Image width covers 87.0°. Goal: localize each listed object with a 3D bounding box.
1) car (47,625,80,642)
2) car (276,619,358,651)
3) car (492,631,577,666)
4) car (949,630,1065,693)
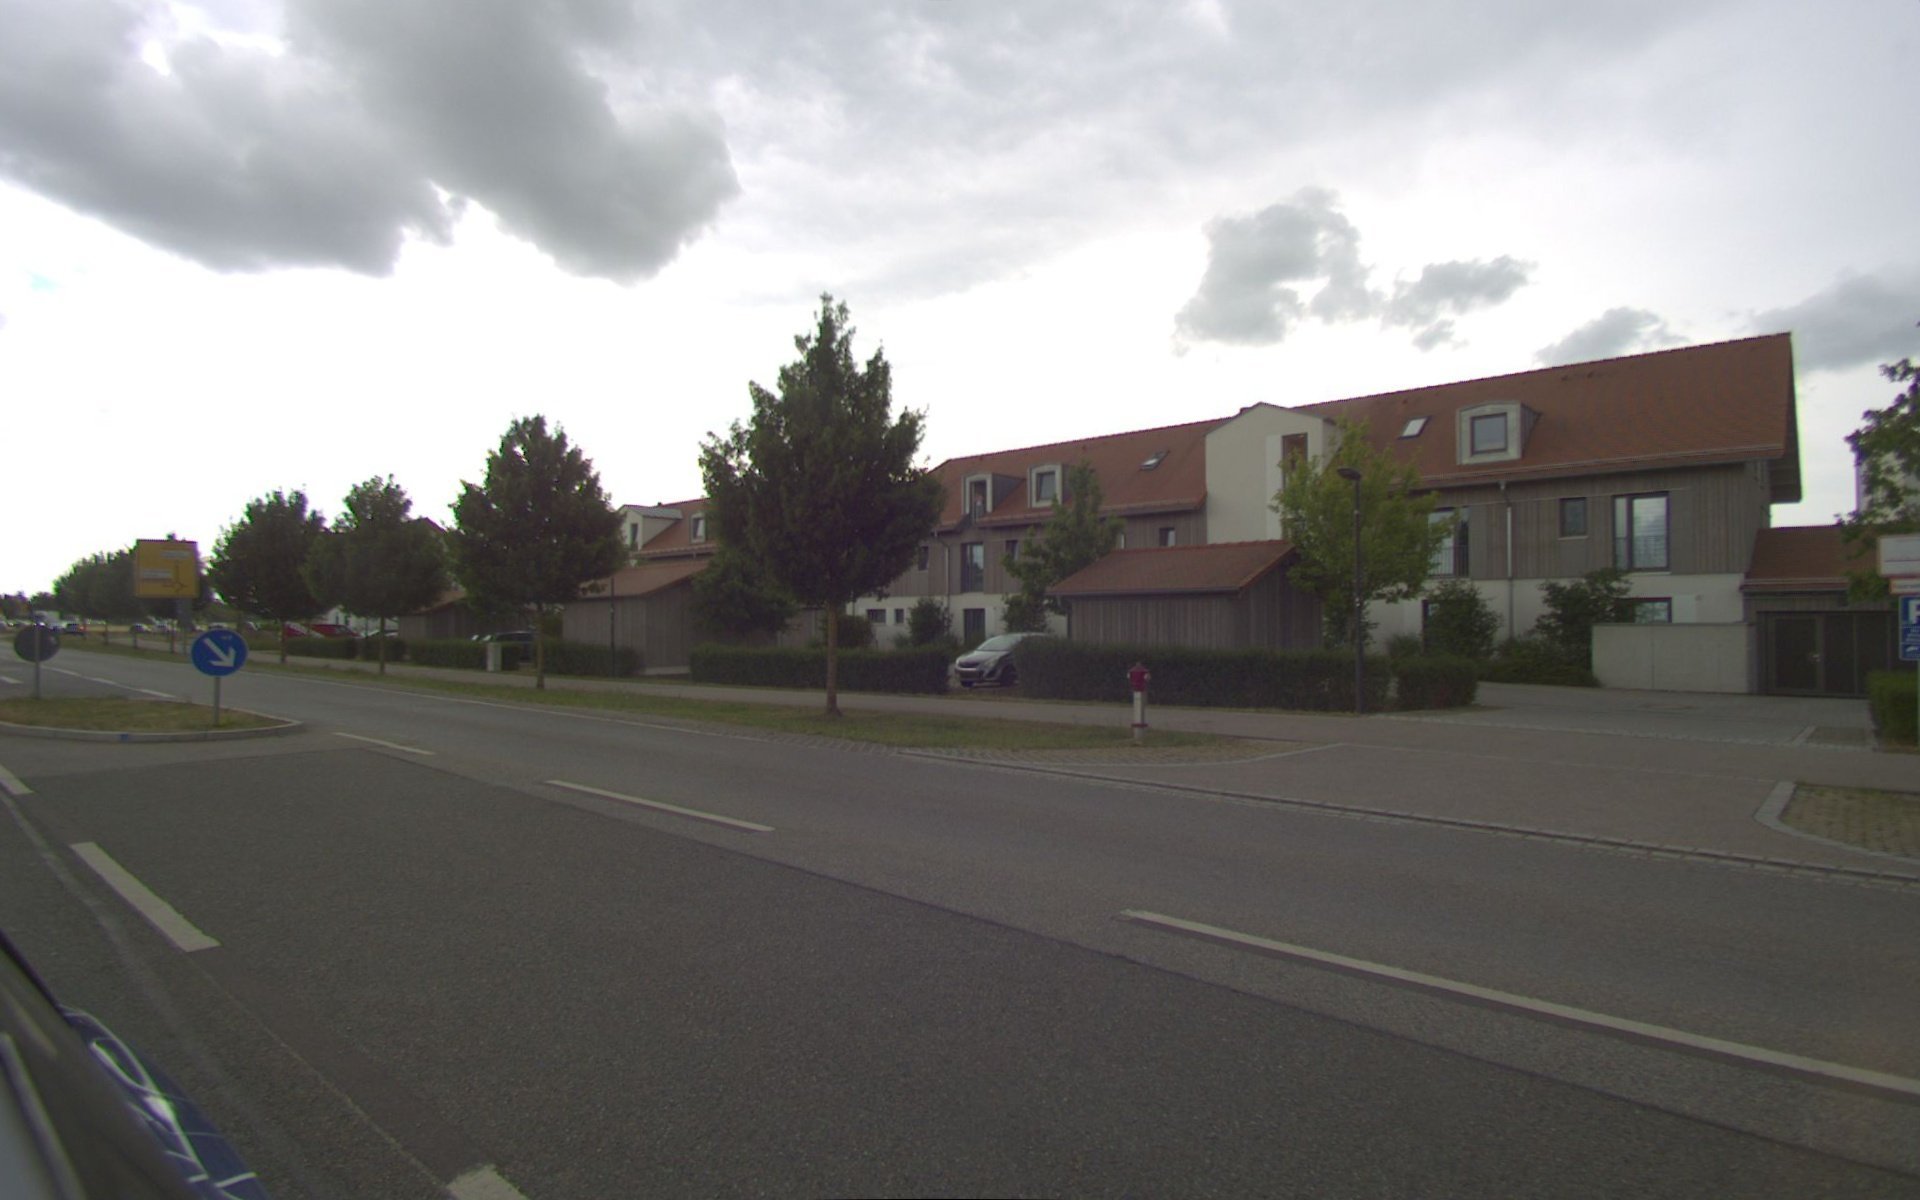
[{"bbox_3d":[-97.937,3.641,110.591,3.994,1.796,1.975,0,1,38],"label":"car"},{"bbox_3d":[-44.932,2.415,70.746,4.506,2.029,2.001,-1,1,-44],"label":"car"},{"bbox_3d":[-20.311,2.285,48.416,1.300,1.450,3.546,0,1,41],"label":"car"},{"bbox_3d":[1.360,1.645,28.020,1.300,1.450,3.546,0,1,41],"label":"car"}]
